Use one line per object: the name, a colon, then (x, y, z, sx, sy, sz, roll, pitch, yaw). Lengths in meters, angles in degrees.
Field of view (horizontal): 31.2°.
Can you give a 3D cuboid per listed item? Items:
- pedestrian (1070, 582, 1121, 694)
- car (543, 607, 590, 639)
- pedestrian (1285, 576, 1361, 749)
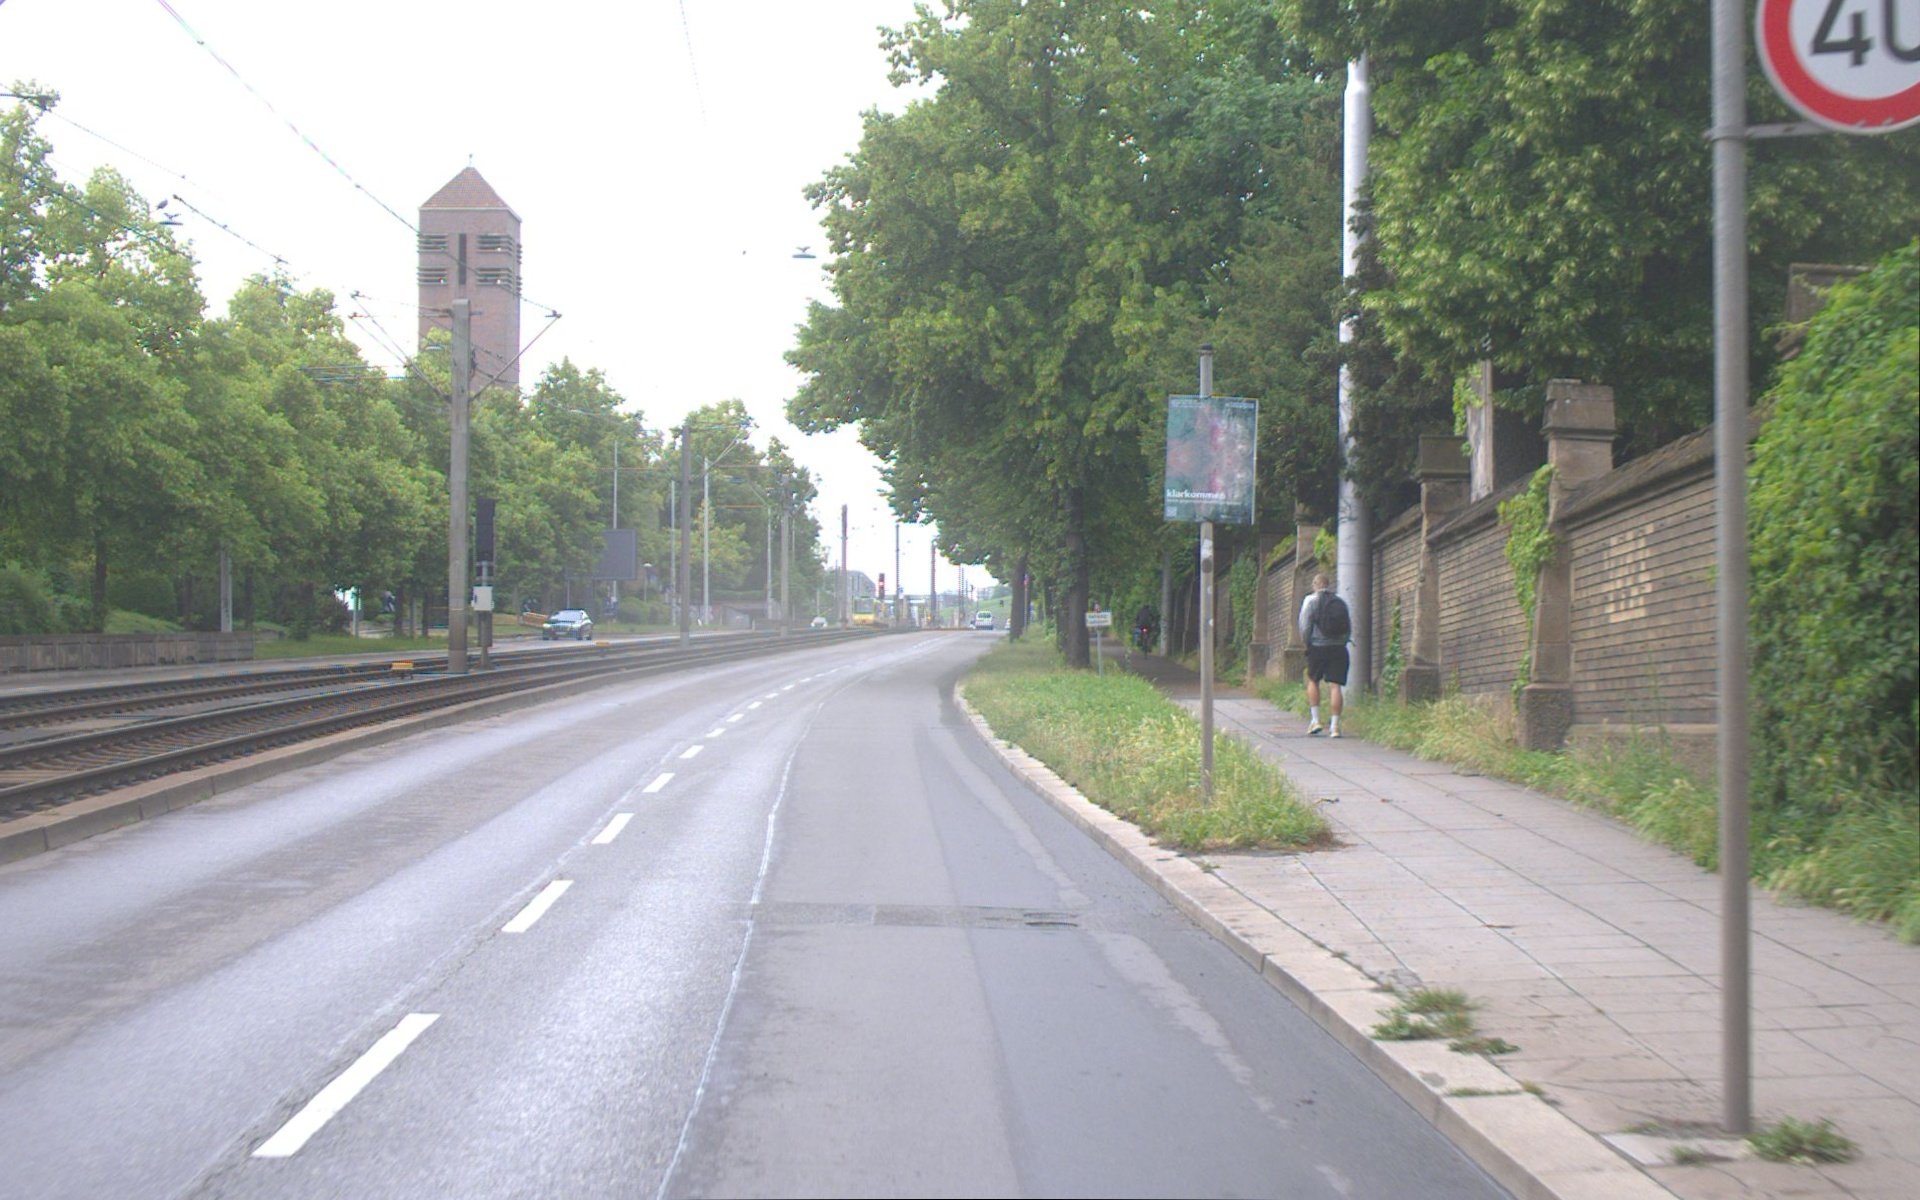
pedestrian: (2.058, 0.575, 52.270, 0.720, 1.681, 0.729, 1, 0, 1)
car: (-19.059, 1.104, 166.629, 1.794, 1.505, 3.849, 0, 1, 0)
pedestrian: (3.923, 0.668, 37.231, 0.720, 1.843, 0.783, 1, 0, 1)
